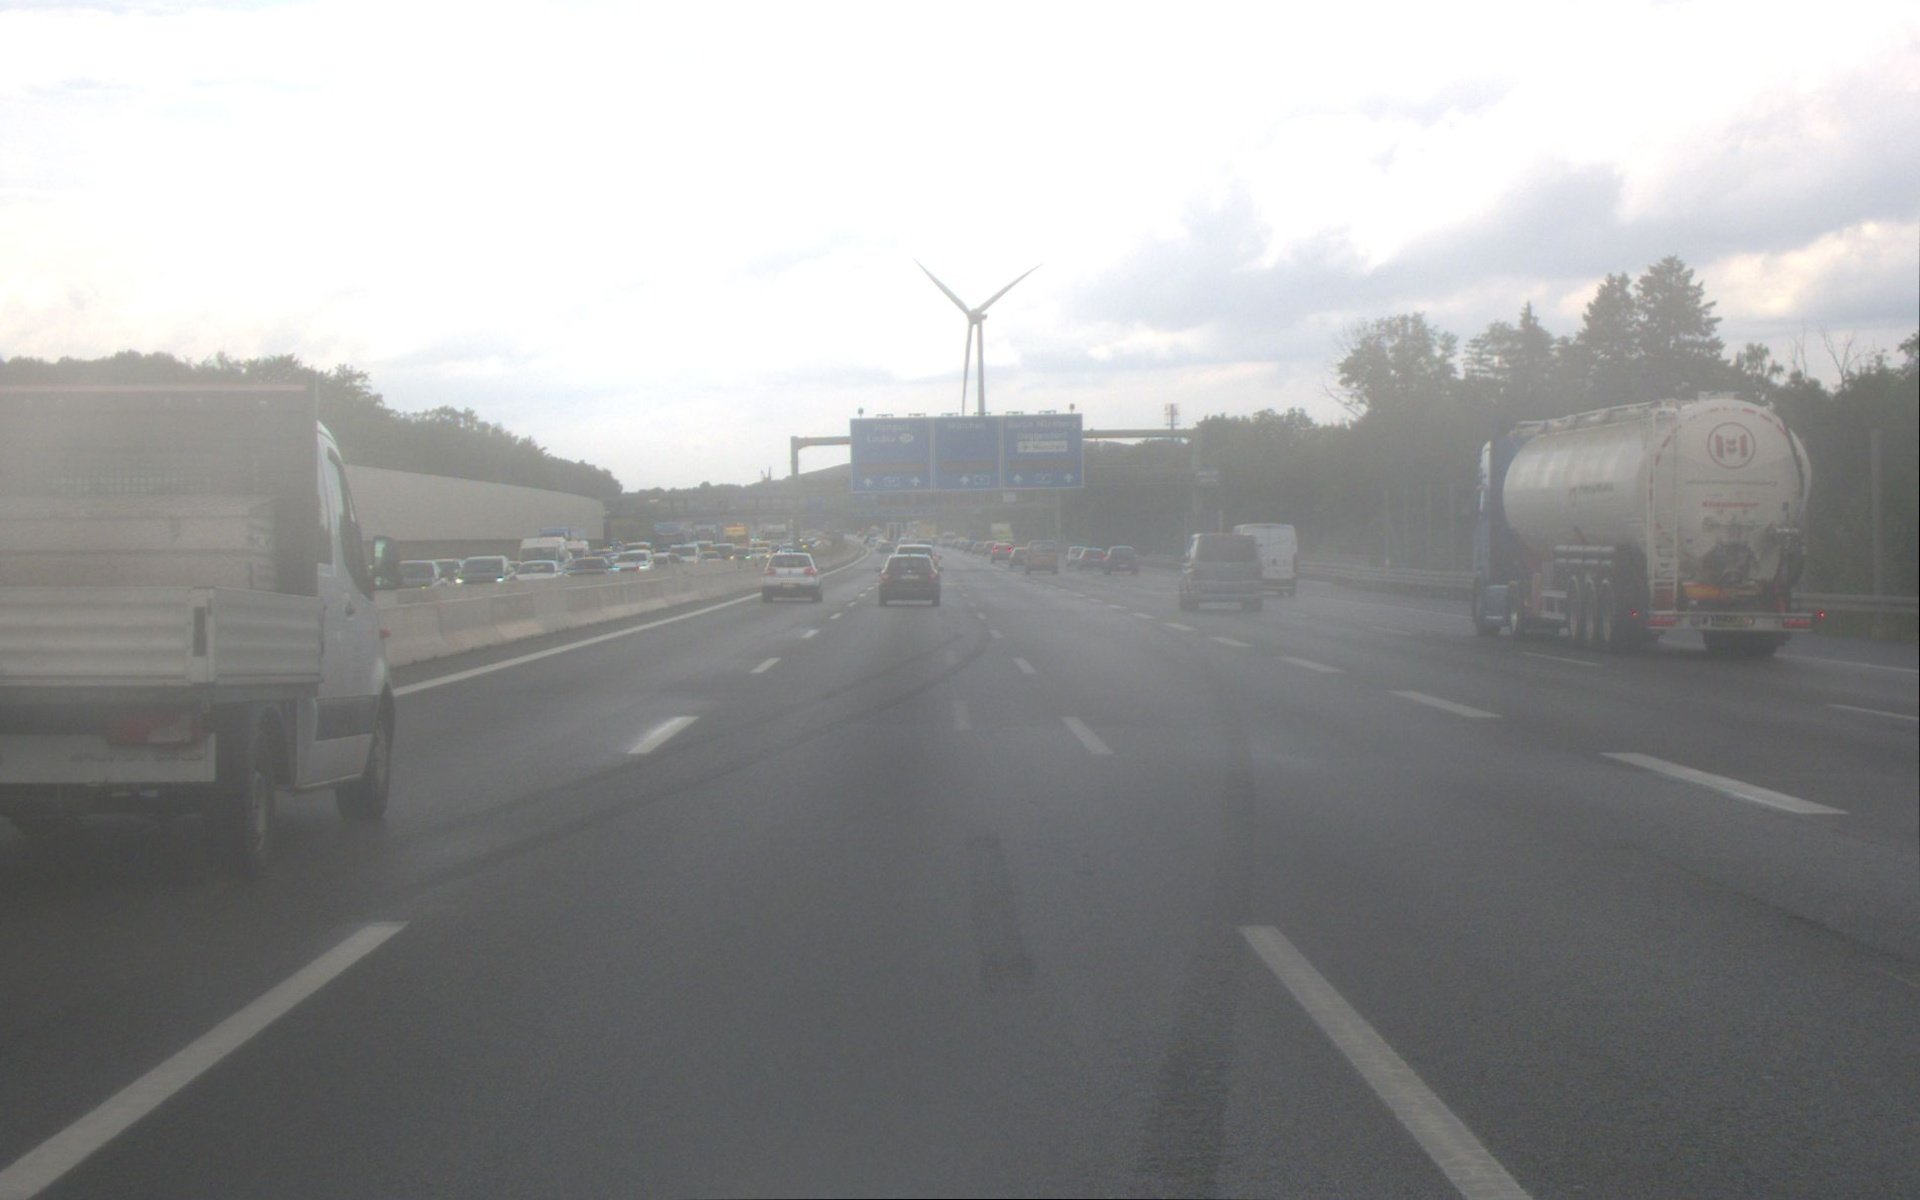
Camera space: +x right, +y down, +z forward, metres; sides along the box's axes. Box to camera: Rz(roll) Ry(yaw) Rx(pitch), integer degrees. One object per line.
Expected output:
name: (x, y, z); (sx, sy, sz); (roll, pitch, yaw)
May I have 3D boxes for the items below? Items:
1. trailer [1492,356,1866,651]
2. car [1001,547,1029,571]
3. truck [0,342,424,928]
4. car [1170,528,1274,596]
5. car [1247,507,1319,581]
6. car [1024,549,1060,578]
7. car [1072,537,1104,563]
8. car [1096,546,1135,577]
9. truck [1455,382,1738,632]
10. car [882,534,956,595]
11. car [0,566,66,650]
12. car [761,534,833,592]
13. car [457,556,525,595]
trailer: (11.084, -1.484, 54.556); (3.332, 4.161, 11.839); (0, 1, 0)
car: (3.976, -2.969, 248.106); (1.868, 1.722, 4.000); (0, 1, -1)
truck: (-4.315, 0.051, 17.773); (2.352, 2.400, 7.359); (0, 1, -3)
car: (6.678, -0.992, 88.114); (2.097, 1.693, 4.001); (0, 1, -4)
car: (11.045, -1.941, 117.852); (2.045, 2.489, 4.000); (0, 1, -1)
car: (4.846, -2.166, 202.870); (2.045, 1.693, 4.000); (0, 1, 0)
car: (8.686, -3.394, 233.510); (2.045, 1.693, 4.000); (0, 1, 0)
car: (9.001, -2.241, 199.034); (1.993, 1.744, 4.497); (0, 1, -1)
truck: (11.026, -1.605, 60.451); (3.333, 4.066, 8.272); (0, 1, 0)
car: (-1.150, -1.036, 98.135); (2.045, 1.693, 4.000); (0, 1, 0)
car: (-15.278, 0.103, 53.585); (1.689, 1.230, 4.000); (0, 1, 0)
car: (-4.921, -1.143, 104.080); (2.045, 1.693, 4.000); (0, 1, -1)
car: (-15.274, -0.821, 112.111); (1.689, 1.230, 4.000); (0, 1, 0)
